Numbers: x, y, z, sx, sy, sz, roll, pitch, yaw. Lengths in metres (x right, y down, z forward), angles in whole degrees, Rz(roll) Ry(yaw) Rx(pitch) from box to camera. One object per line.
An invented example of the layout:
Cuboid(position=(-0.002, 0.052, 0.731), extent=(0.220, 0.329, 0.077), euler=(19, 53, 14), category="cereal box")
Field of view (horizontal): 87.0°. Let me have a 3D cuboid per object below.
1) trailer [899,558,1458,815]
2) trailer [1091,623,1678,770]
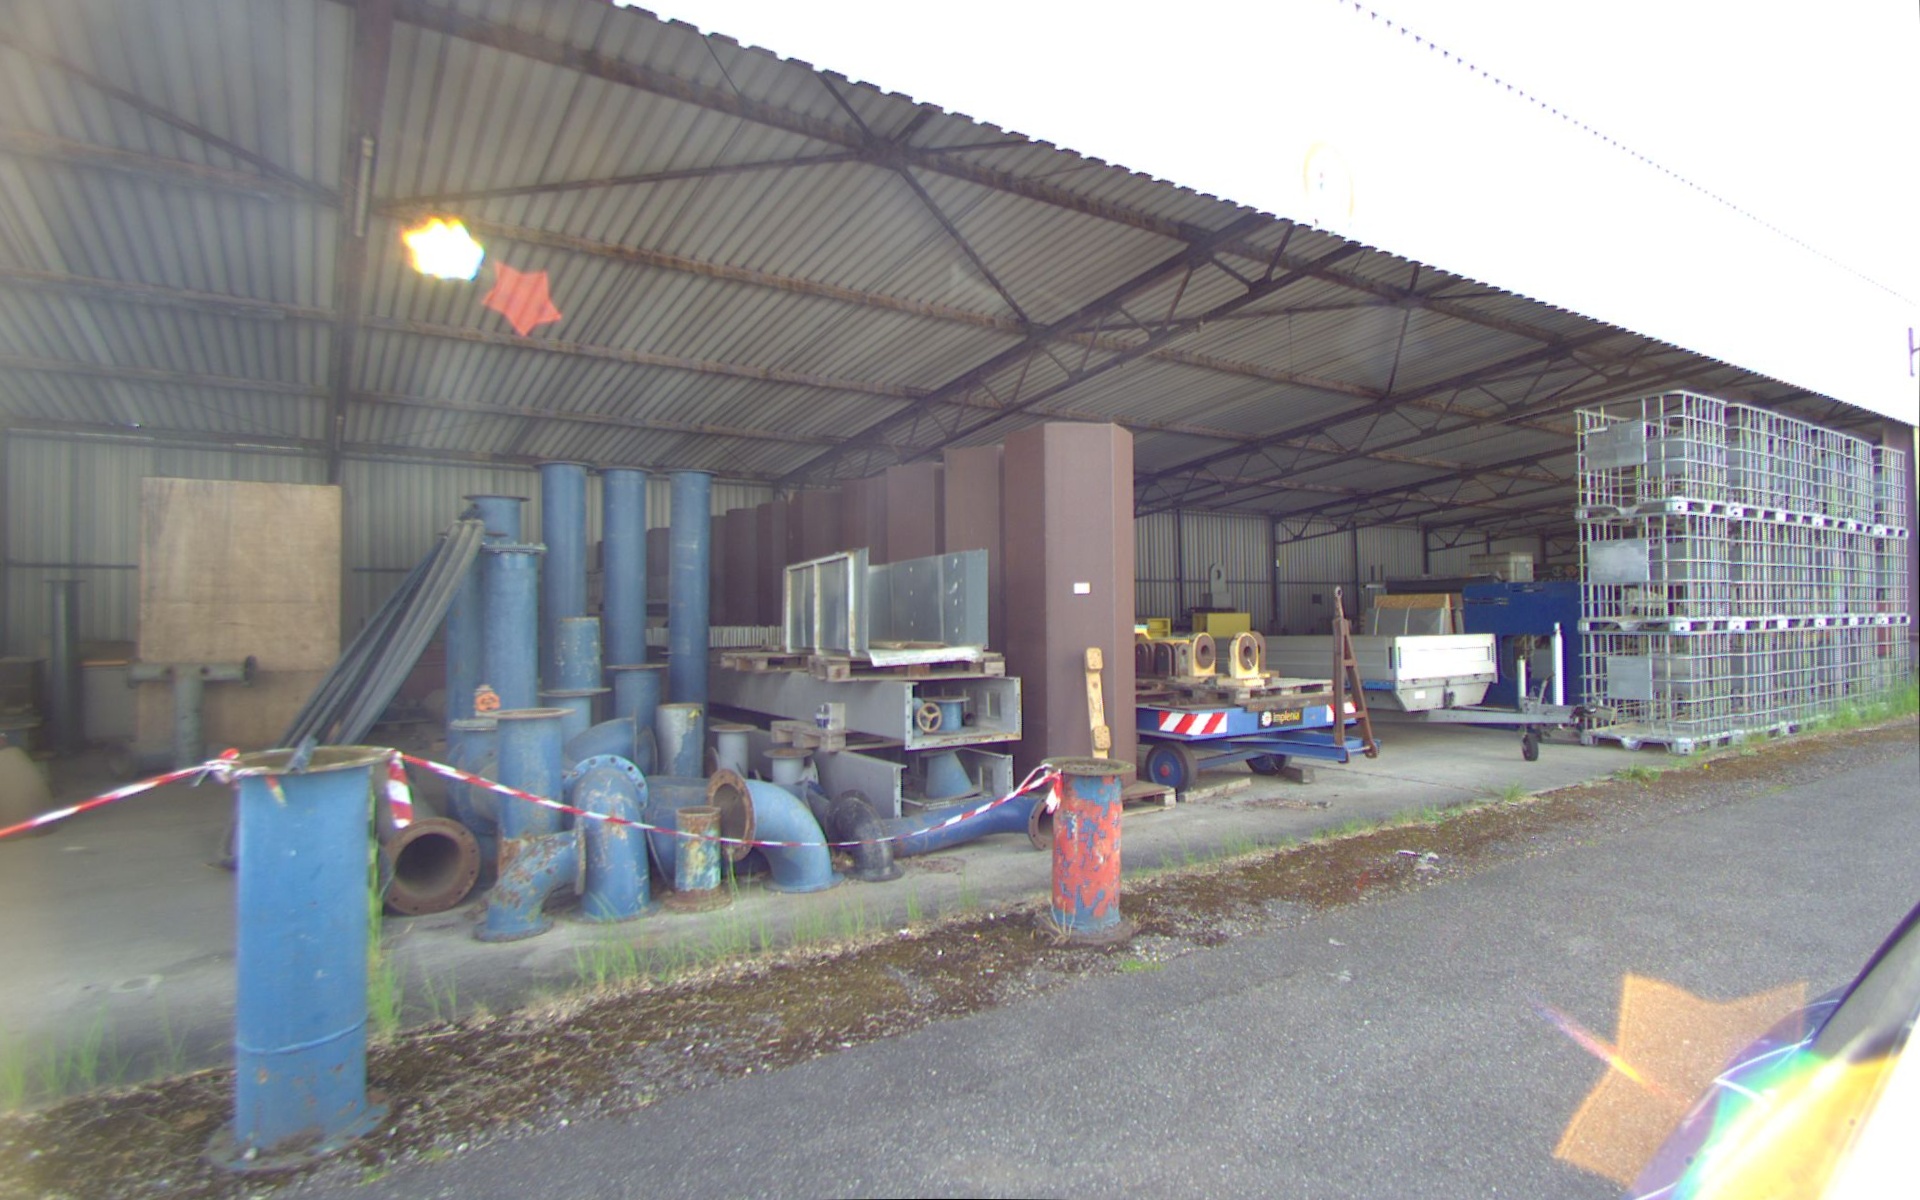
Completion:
Cuboid(position=(1.556, 0.584, 9.092), extent=(1.990, 1.649, 4.883), euler=(0, -1, -34), category="trailer")
Cuboid(position=(4.132, 0.846, 11.150), extent=(1.990, 1.134, 5.841), euler=(0, -1, -34), category="trailer")
